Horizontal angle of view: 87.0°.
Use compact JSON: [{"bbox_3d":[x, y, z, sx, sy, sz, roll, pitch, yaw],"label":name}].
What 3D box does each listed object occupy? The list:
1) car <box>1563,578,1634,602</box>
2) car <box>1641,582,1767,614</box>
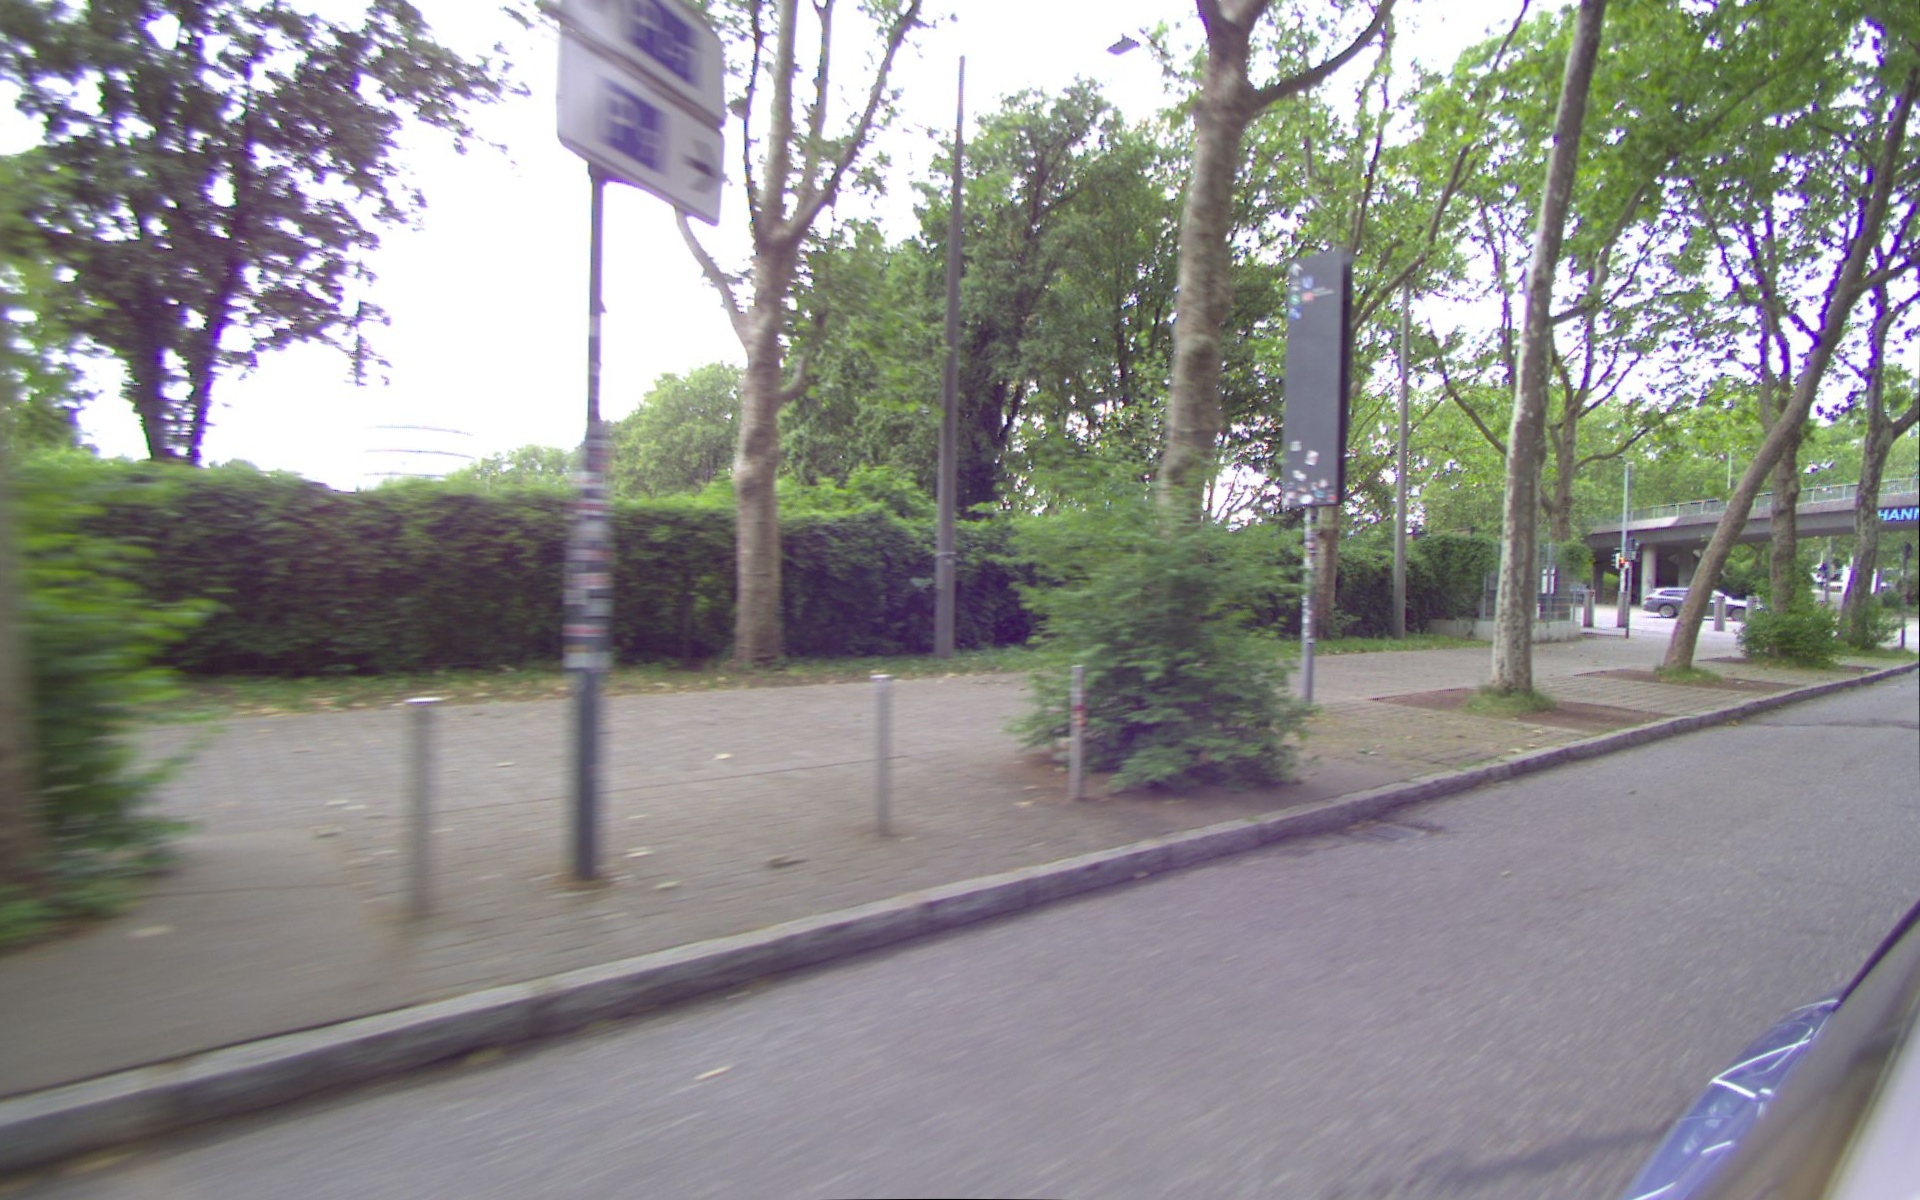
[{"bbox_3d":[40.911,-0.666,64.969,3.684,1.337,1.746,2,4,29],"label":"car"},{"bbox_3d":[35.910,-0.128,48.951,1.856,1.464,4.675,0,2,-44],"label":"car"}]
